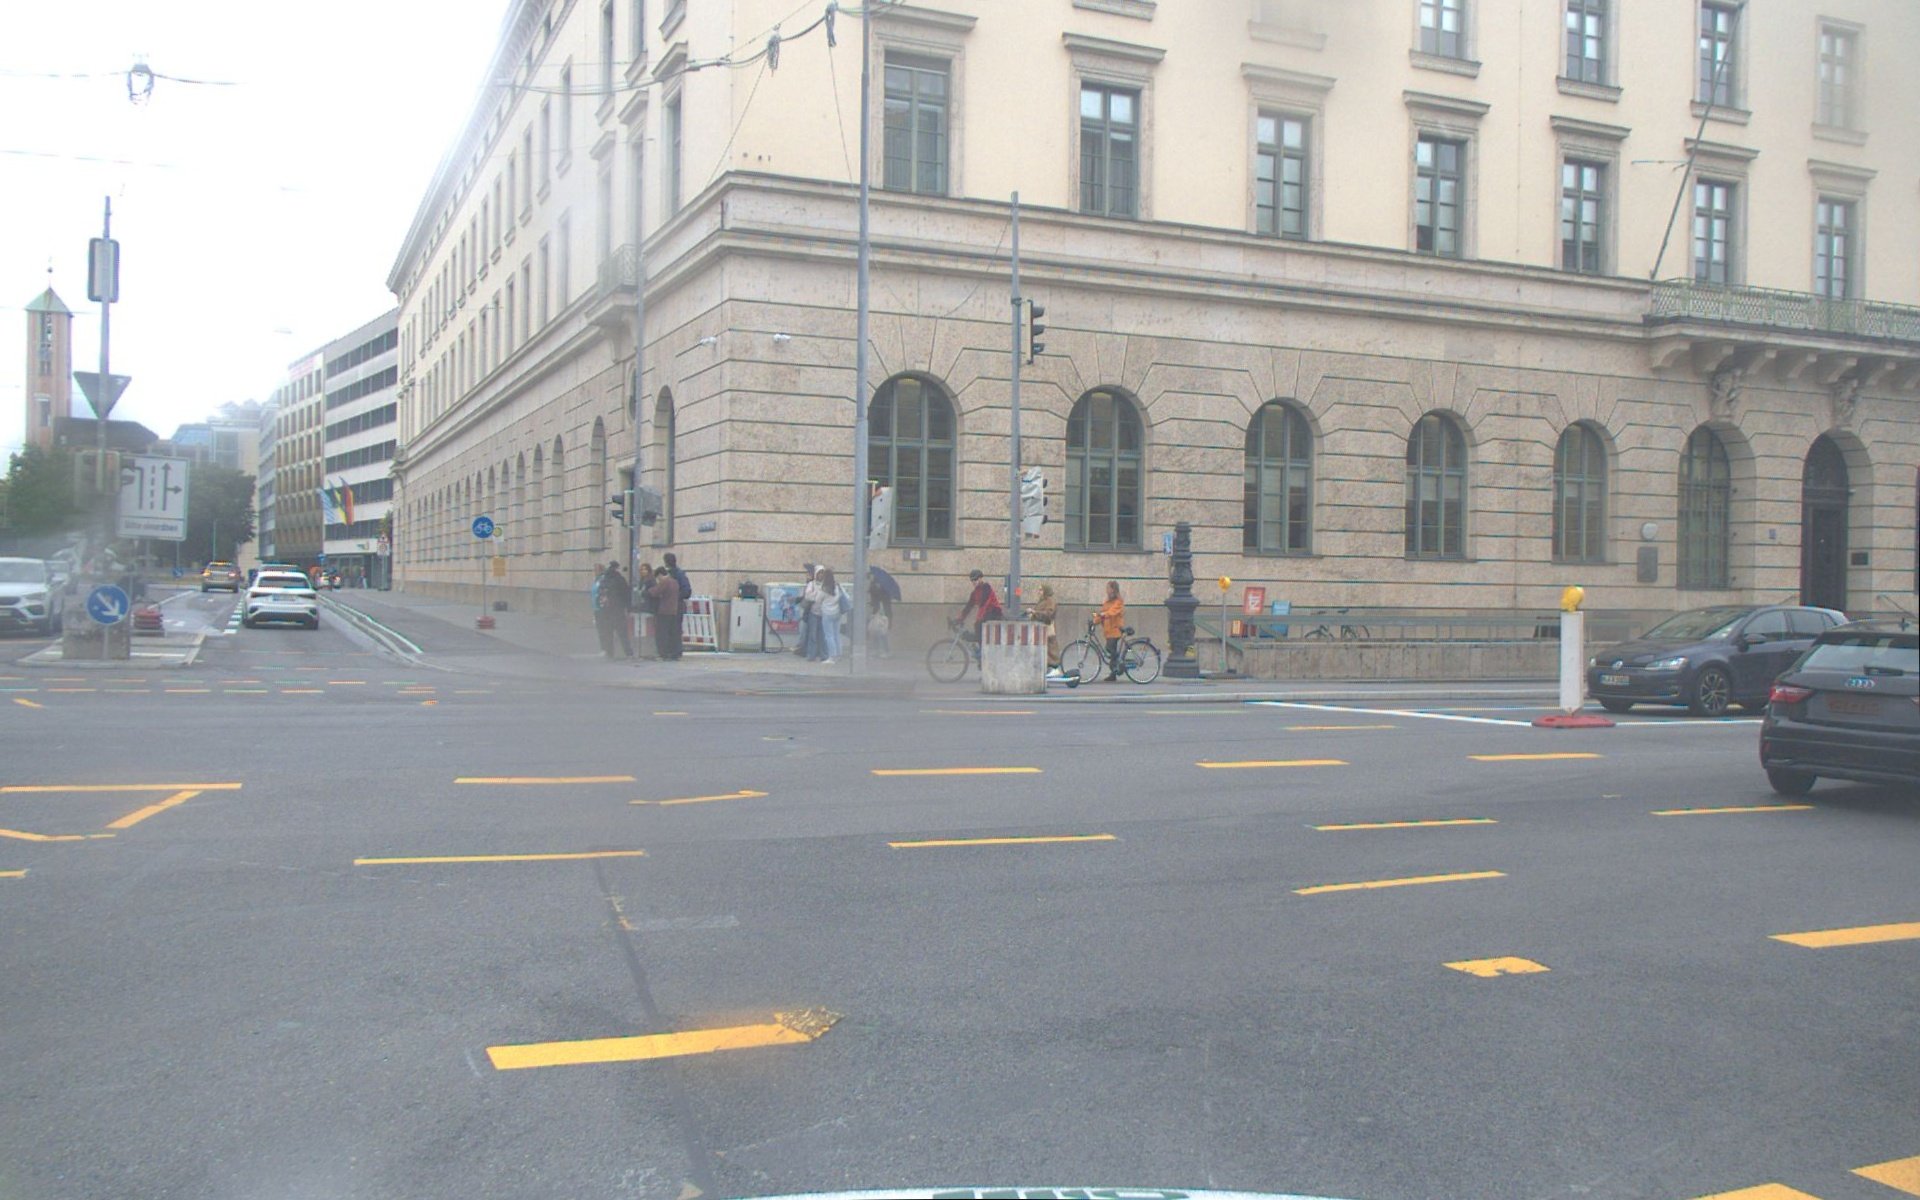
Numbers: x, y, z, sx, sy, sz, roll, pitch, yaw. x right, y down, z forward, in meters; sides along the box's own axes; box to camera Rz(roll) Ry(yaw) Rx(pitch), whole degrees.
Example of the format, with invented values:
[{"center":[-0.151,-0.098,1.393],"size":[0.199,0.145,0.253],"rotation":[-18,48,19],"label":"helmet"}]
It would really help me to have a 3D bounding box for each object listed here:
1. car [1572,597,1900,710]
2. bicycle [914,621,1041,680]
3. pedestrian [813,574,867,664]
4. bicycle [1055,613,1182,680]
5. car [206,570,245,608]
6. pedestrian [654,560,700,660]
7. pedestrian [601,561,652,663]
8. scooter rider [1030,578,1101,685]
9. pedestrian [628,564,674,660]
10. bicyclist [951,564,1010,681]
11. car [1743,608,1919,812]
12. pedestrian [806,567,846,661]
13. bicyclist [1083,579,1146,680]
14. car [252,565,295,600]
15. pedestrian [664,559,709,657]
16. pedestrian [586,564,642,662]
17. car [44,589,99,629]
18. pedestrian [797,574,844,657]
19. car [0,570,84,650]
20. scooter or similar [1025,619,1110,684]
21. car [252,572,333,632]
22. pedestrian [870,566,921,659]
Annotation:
[{"center":[10.474,0.705,22.308],"size":[4.171,1.413,1.736],"rotation":[1,-1,-24],"label":"car"},{"center":[0.282,0.821,26.804],"size":[1.944,0.895,0.657],"rotation":[1,0,-22],"label":"bicycle"},{"center":[-2.154,0.333,29.601],"size":[0.804,1.584,0.664],"rotation":[1,0,-16],"label":"pedestrian"},{"center":[2.636,0.778,27.512],"size":[1.930,1.058,0.790],"rotation":[1,0,-21],"label":"bicycle"},{"center":[-41.092,-0.645,92.574],"size":[1.967,2.049,3.970],"rotation":[0,1,-24],"label":"car"},{"center":[-5.151,0.173,30.127],"size":[0.571,1.786,0.820],"rotation":[2,0,7],"label":"pedestrian"},{"center":[-5.923,0.207,29.389],"size":[0.802,1.786,0.679],"rotation":[2,0,-7],"label":"pedestrian"},{"center":[1.658,0.494,26.001],"size":[0.919,1.650,0.588],"rotation":[1,0,-22],"label":"scooter rider"},{"center":[-5.902,0.224,31.621],"size":[0.802,1.786,0.584],"rotation":[2,0,-10],"label":"pedestrian"},{"center":[0.329,0.359,26.811],"size":[0.733,1.874,0.656],"rotation":[1,0,-21],"label":"bicyclist"},{"center":[8.151,0.817,13.343],"size":[3.962,1.412,1.843],"rotation":[1,1,-40],"label":"car"},{"center":[-2.456,0.253,30.280],"size":[0.606,1.701,0.540],"rotation":[1,0,-16],"label":"pedestrian"},{"center":[2.557,0.485,27.476],"size":[0.733,1.643,0.790],"rotation":[1,0,-21],"label":"bicyclist"},{"center":[-32.983,-0.877,79.429],"size":[1.840,1.629,3.822],"rotation":[0,1,-24],"label":"car"},{"center":[-5.115,0.138,30.931],"size":[0.571,1.786,0.820],"rotation":[2,0,7],"label":"pedestrian"},{"center":[-6.435,0.231,30.764],"size":[0.574,1.786,0.817],"rotation":[2,0,36],"label":"pedestrian"},{"center":[-42.044,0.407,78.319],"size":[1.967,1.765,4.202],"rotation":[0,1,-24],"label":"car"},{"center":[-2.658,0.294,31.495],"size":[0.656,1.554,0.814],"rotation":[1,0,-23],"label":"pedestrian"},{"center":[-19.502,0.166,34.395],"size":[1.967,1.550,4.201],"rotation":[0,1,-24],"label":"car"},{"center":[1.687,0.815,26.023],"size":[1.194,0.982,0.584],"rotation":[1,0,-23],"label":"scooter or similar"},{"center":[-17.694,0.029,43.767],"size":[1.789,1.449,4.418],"rotation":[2,0,-24],"label":"car"},{"center":[-1.235,0.226,31.424],"size":[0.705,1.723,0.814],"rotation":[1,0,-22],"label":"pedestrian"}]
